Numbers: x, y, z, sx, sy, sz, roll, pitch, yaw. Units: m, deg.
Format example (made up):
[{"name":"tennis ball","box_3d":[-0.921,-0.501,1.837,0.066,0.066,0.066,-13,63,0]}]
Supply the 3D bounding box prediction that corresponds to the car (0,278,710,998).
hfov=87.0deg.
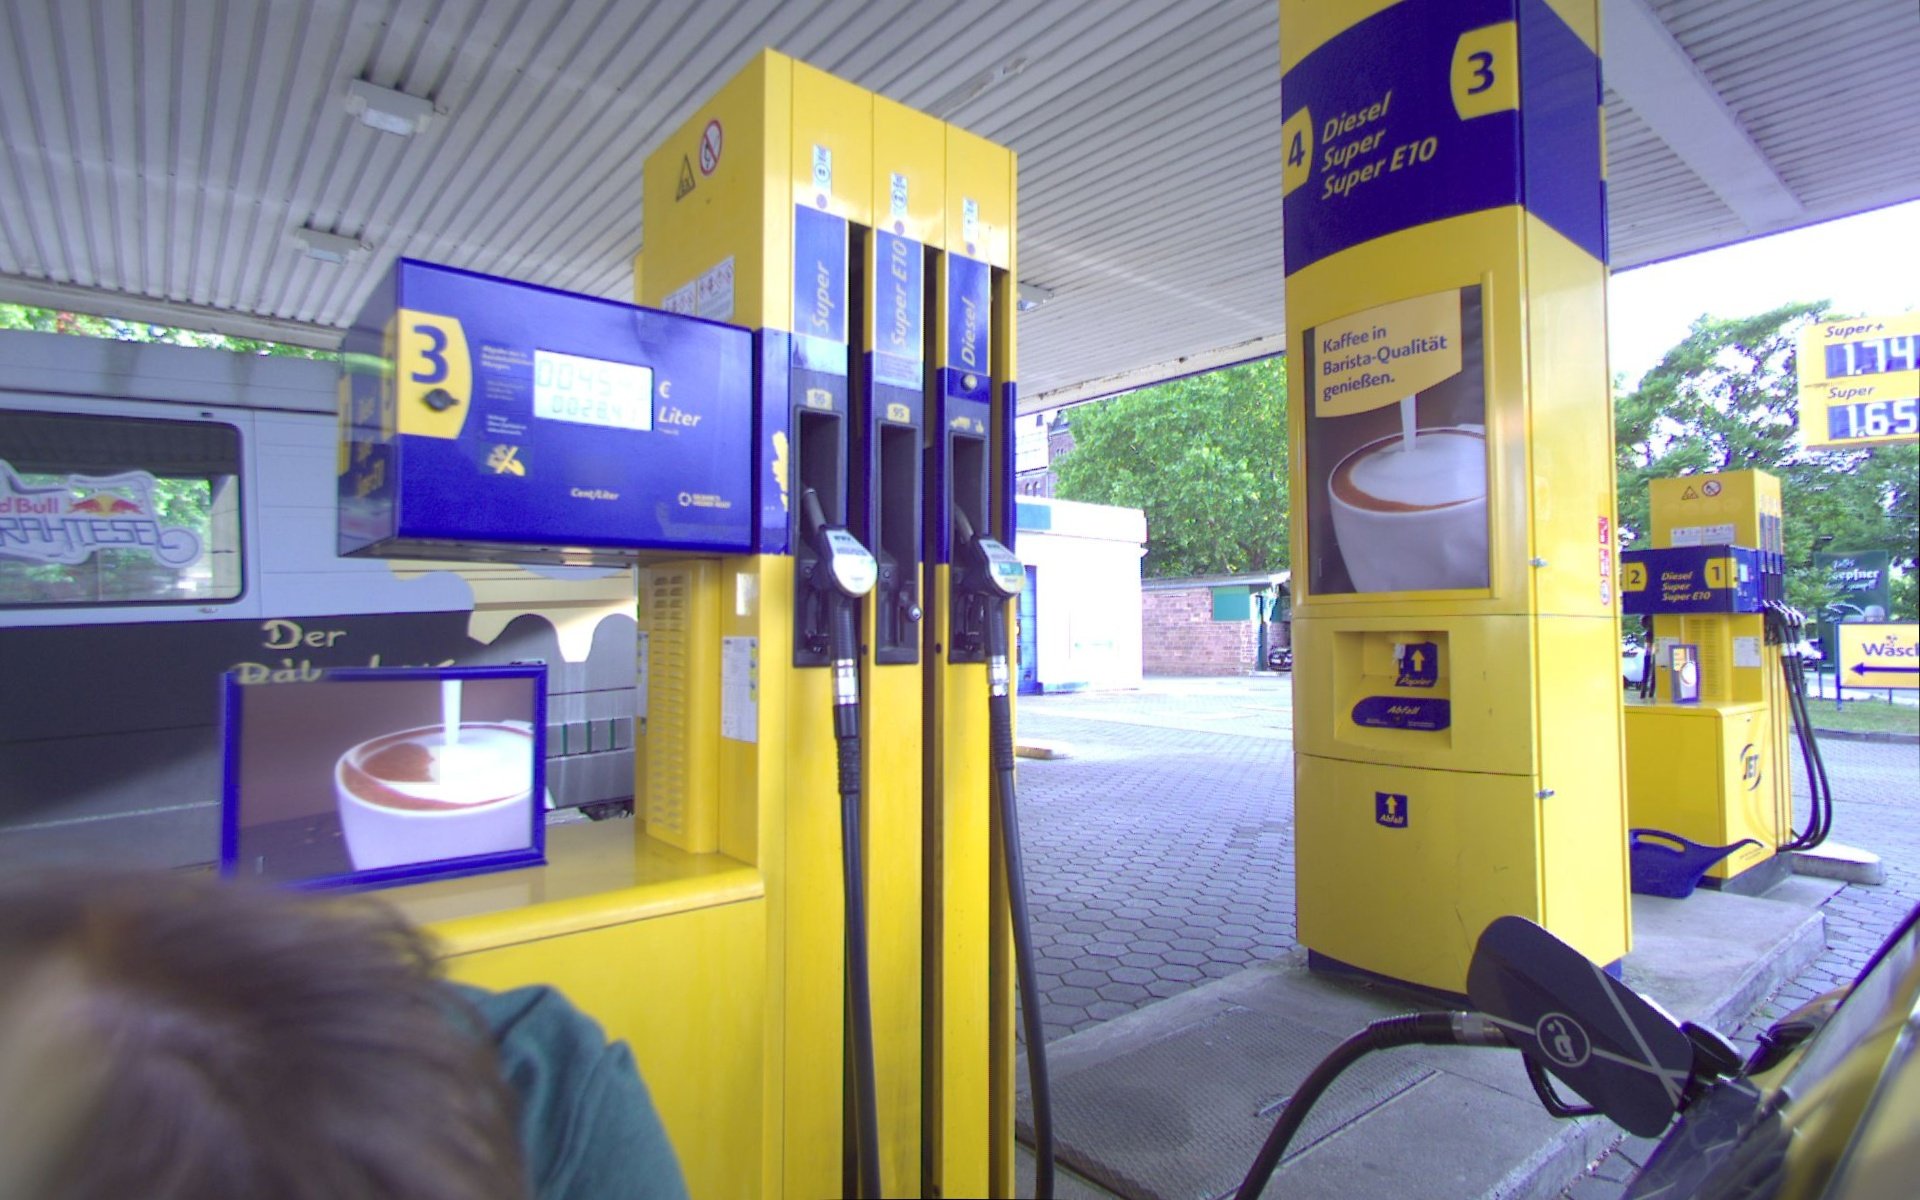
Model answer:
[{"name":"car","box_3d":[-4.112,0.161,4.894,5.197,2.726,2.258,1,-2,-39]}]

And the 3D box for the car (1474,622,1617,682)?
[{"name":"car","box_3d":[17.844,1.583,30.802,4.303,1.622,1.776,4,-4,-28]}]

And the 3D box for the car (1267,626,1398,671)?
[{"name":"car","box_3d":[12.687,1.646,34.429,4.303,1.393,1.777,2,-1,-28]}]

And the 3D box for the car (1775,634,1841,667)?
[{"name":"car","box_3d":[40.788,2.403,48.747,1.675,1.491,3.772,-1,-2,28]}]

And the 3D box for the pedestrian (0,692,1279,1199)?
[{"name":"pedestrian","box_3d":[-0.337,0.750,0.546,0.662,1.298,0.751,0,0,-41]}]

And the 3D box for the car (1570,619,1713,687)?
[{"name":"car","box_3d":[18.353,1.440,27.203,4.308,1.622,1.774,4,-4,-35]}]

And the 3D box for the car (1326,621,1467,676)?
[{"name":"car","box_3d":[13.884,1.524,32.137,4.303,1.622,1.777,2,-1,-28]}]
